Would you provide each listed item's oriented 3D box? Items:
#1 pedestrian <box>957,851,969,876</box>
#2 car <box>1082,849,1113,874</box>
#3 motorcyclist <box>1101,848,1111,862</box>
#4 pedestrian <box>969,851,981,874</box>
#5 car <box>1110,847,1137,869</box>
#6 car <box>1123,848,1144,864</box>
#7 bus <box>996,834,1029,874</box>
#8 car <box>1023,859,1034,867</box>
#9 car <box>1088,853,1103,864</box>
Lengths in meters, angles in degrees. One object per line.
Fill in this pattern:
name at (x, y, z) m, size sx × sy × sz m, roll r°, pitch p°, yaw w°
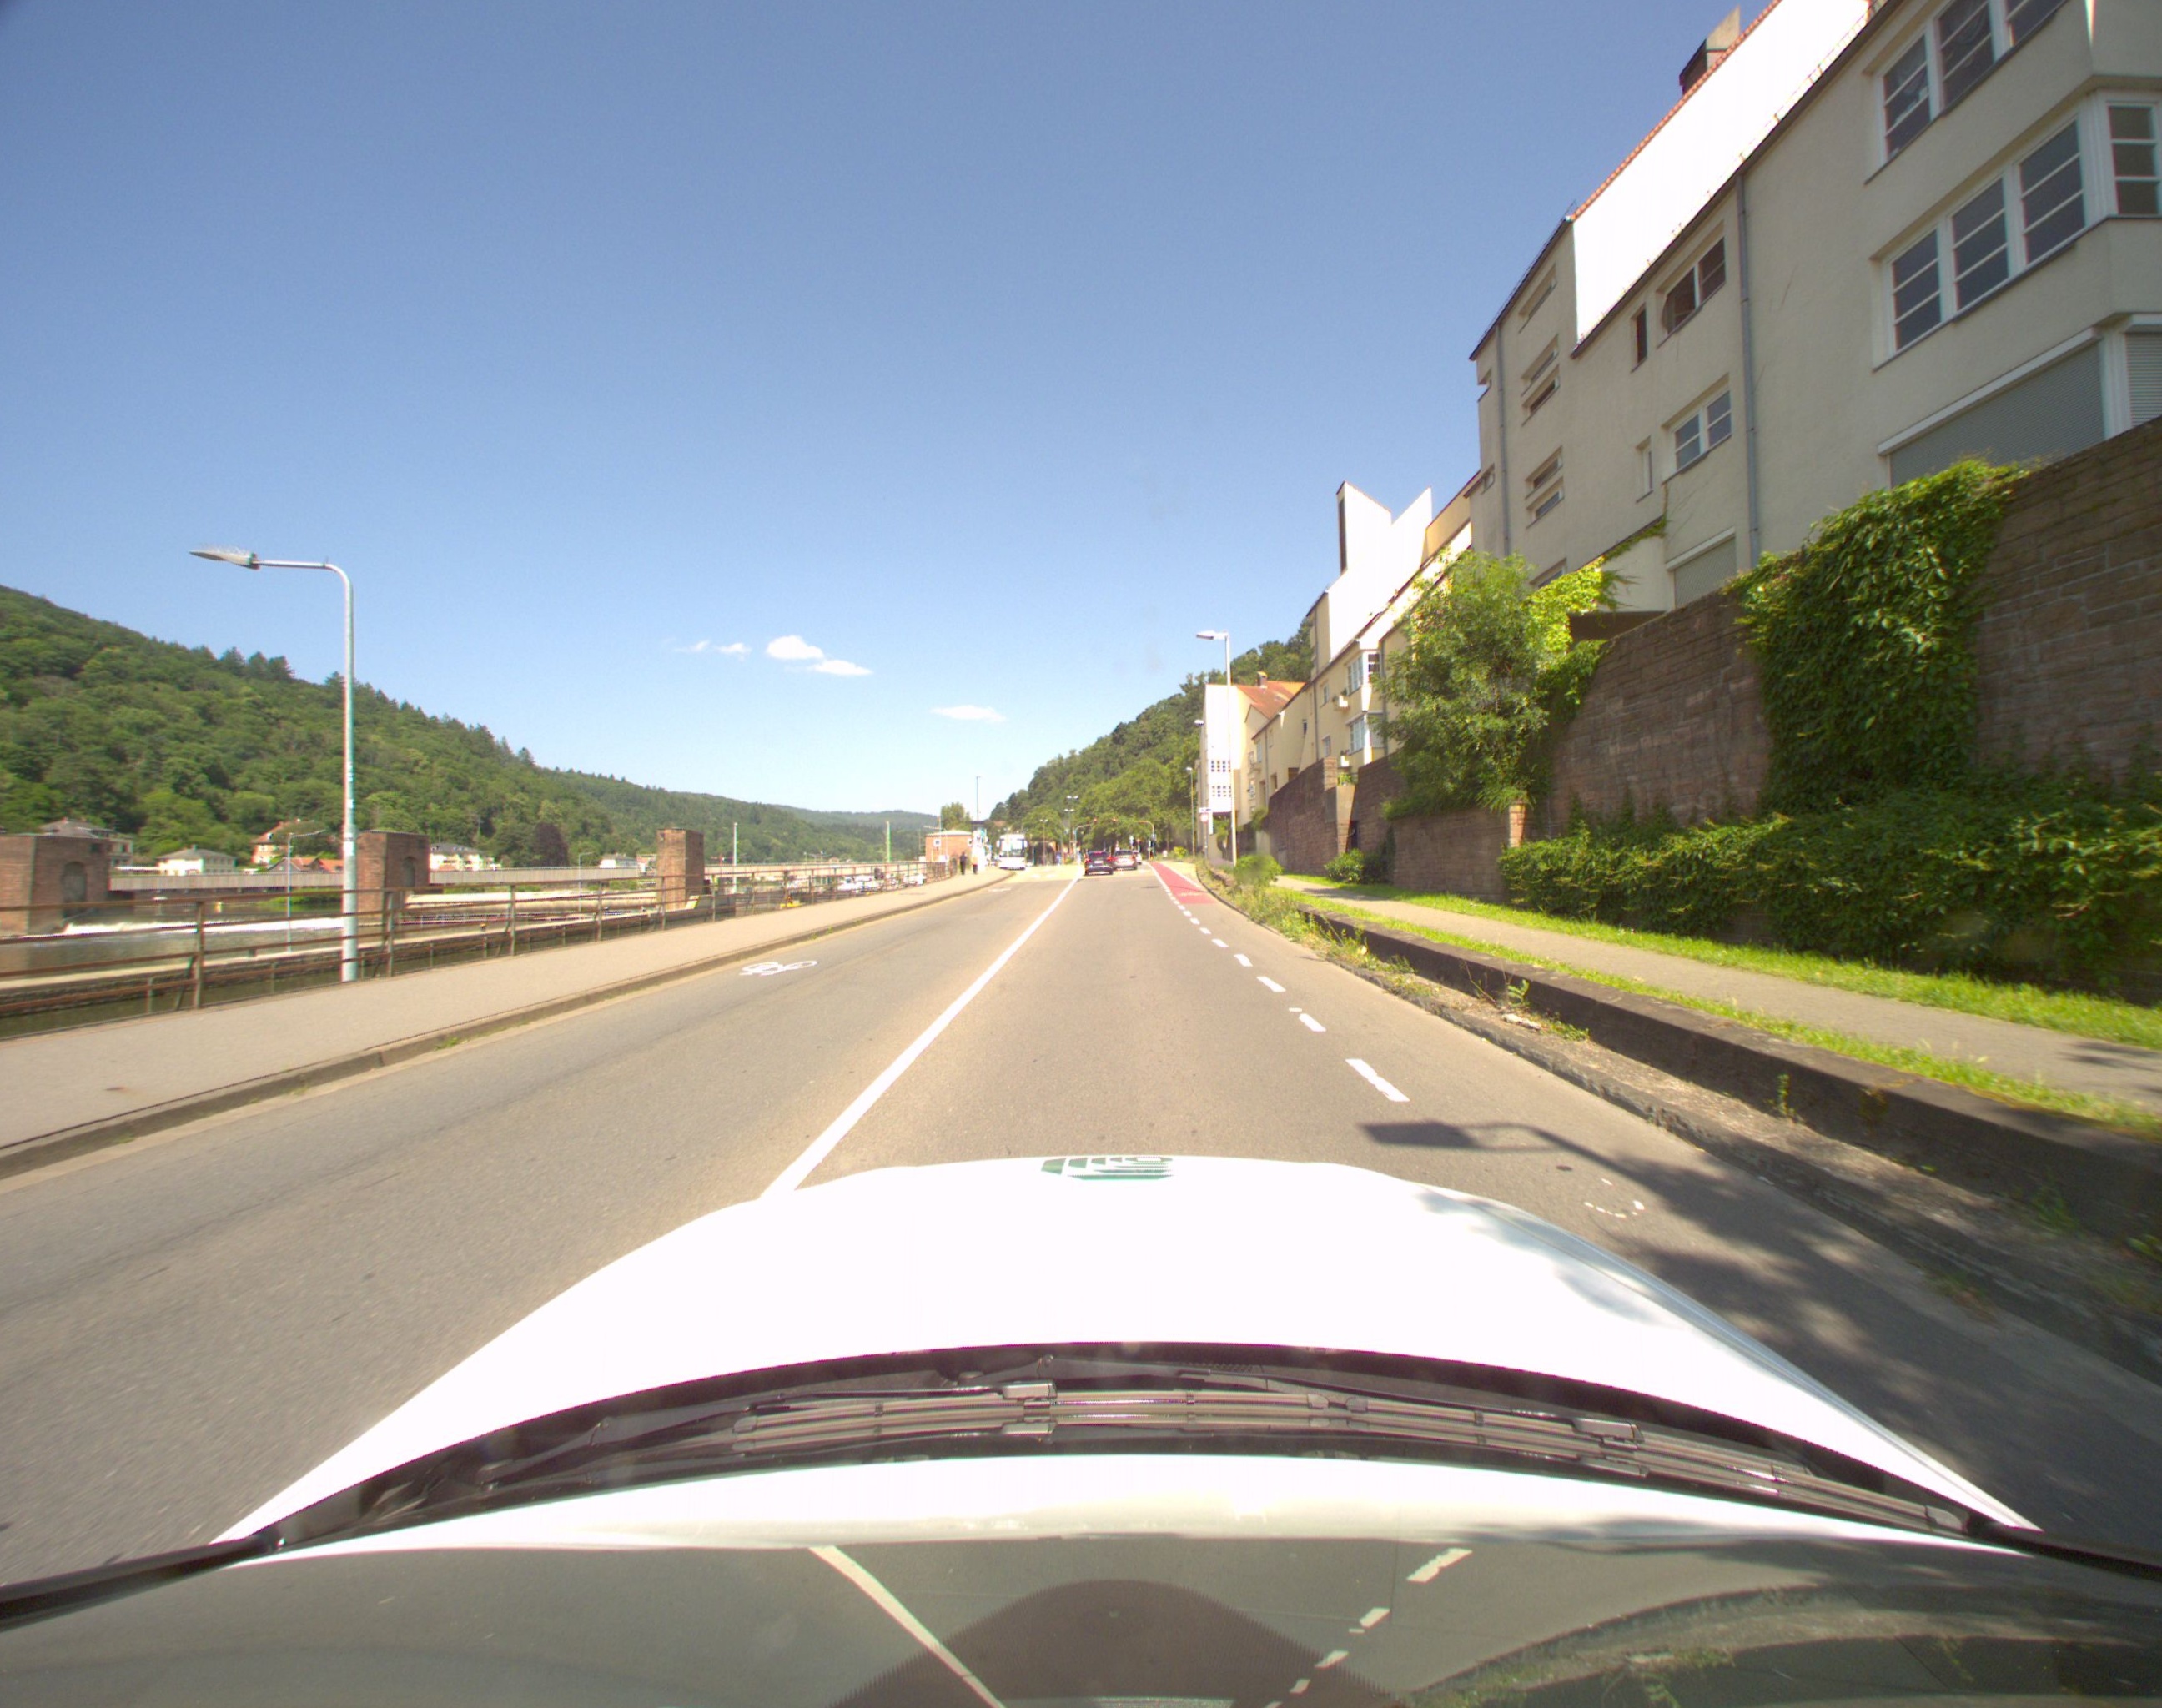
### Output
pedestrian at (-8.268, 0.663, 57.144) m, size 0.680 × 1.709 × 0.773 m, roll -2°, pitch 0°, yaw 2°
car at (1.095, 0.477, 52.066) m, size 1.862 × 1.514 × 4.152 m, roll -1°, pitch -1°, yaw 2°
motorcyclist at (3.004, 0.100, 97.286) m, size 1.072 × 1.684 × 1.156 m, roll -3°, pitch 0°, yaw 1°
pedestrian at (-7.704, 0.627, 58.995) m, size 0.700 × 1.621 × 0.816 m, roll -2°, pitch -1°, yaw -1°
car at (3.123, 0.303, 60.667) m, size 1.881 × 1.521 × 4.307 m, roll -1°, pitch -1°, yaw 2°
car at (5.208, 0.219, 81.487) m, size 1.986 × 1.534 × 4.860 m, roll -1°, pitch -1°, yaw 2°
bus at (-7.084, 0.025, 86.132) m, size 2.950 × 3.801 × 13.227 m, roll -2°, pitch -1°, yaw -3°
car at (-10.954, 1.861, 170.447) m, size 1.993 × 1.432 × 4.155 m, roll -3°, pitch 0°, yaw -8°
car at (2.023, 0.565, 111.423) m, size 1.861 × 1.359 × 3.999 m, roll -3°, pitch 0°, yaw -1°
